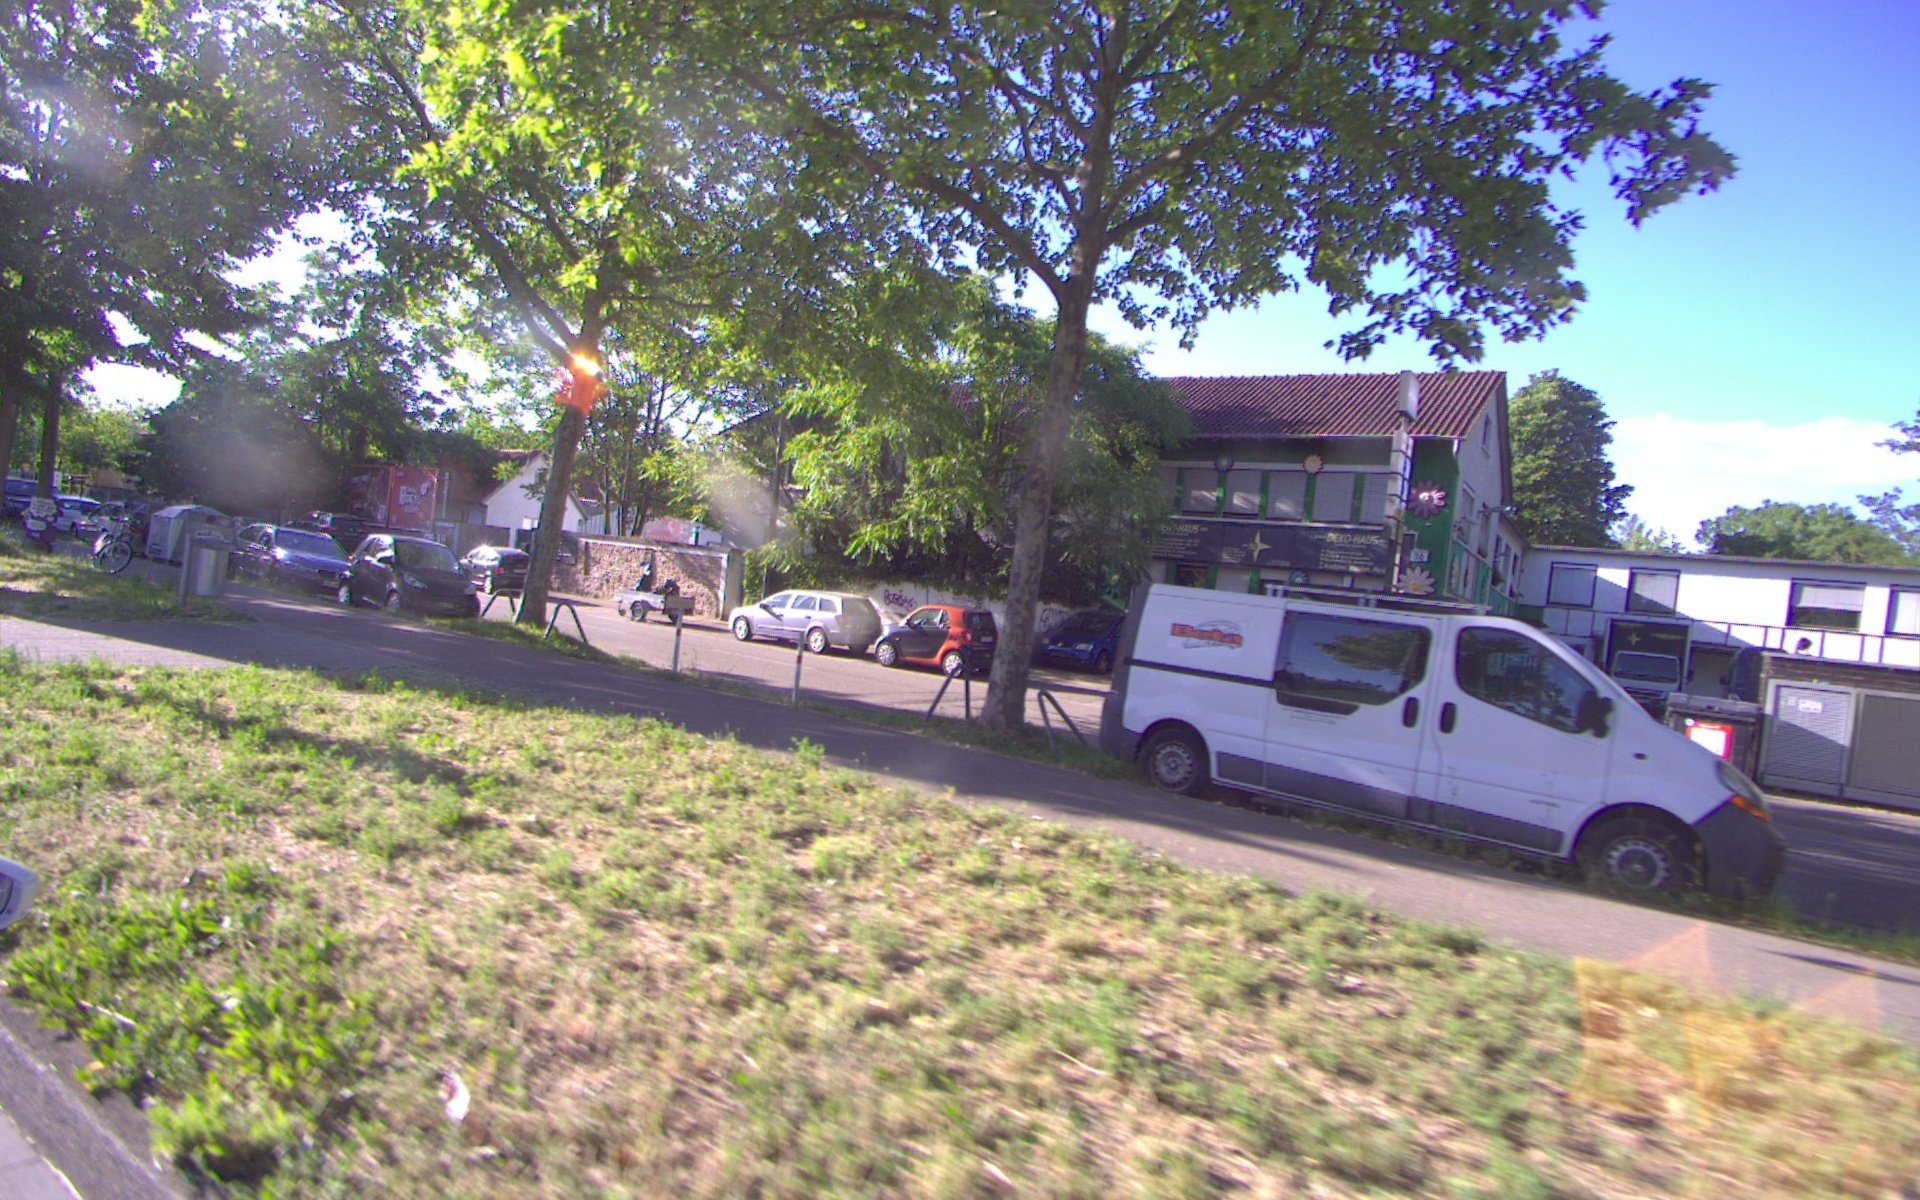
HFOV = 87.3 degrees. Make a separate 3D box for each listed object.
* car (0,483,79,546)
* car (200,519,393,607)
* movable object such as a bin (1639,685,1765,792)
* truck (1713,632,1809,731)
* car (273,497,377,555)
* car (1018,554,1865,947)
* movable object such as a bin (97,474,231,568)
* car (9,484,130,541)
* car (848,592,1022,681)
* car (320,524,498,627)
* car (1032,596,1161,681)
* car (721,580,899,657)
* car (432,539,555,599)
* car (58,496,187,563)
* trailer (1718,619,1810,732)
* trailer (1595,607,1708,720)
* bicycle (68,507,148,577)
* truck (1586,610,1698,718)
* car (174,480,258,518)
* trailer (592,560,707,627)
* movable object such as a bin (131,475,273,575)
[{"bbox_3d":[-34.065,-3.166,36.383,4.812,1.841,1.874,6,-1,32],"label":"car"},{"bbox_3d":[-14.560,-0.839,21.981,4.673,1.400,2.000,6,-2,38],"label":"car"},{"bbox_3d":[12.842,2.350,17.503,1.461,1.489,1.645,6,2,31],"label":"movable object such as a bin"},{"bbox_3d":[27.069,2.780,33.991,2.199,2.949,2.890,6,-1,40],"label":"truck"},{"bbox_3d":[-26.648,-3.108,42.170,4.615,2.028,1.871,6,2,33],"label":"car"},{"bbox_3d":[3.618,0.953,8.646,5.726,2.037,2.193,6,-1,33],"label":"car"},{"bbox_3d":[-20.804,-2.060,26.301,2.103,2.037,2.083,6,-1,36],"label":"movable object such as a bin"},{"bbox_3d":[-29.488,-2.912,33.297,3.934,1.405,1.874,6,-2,32],"label":"car"},{"bbox_3d":[-0.584,0.779,23.294,3.422,1.630,1.993,6,4,32],"label":"car"},{"bbox_3d":[-10.339,-0.468,18.847,2.942,1.518,1.663,6,-2,34],"label":"car"},{"bbox_3d":[3.802,1.109,27.425,1.819,1.872,4.090,6,-2,32],"label":"car"},{"bbox_3d":[-3.875,0.466,25.690,4.257,1.502,1.992,6,1,36],"label":"car"},{"bbox_3d":[-16.083,-1.065,34.622,3.935,1.662,1.993,6,2,33],"label":"car"},{"bbox_3d":[-25.421,-2.168,30.468,4.980,1.542,1.871,6,-2,38],"label":"car"},{"bbox_3d":[30.593,3.028,38.256,2.192,3.605,8.723,6,-2,39],"label":"trailer"},{"bbox_3d":[27.222,2.619,39.380,2.646,3.605,8.783,6,-2,40],"label":"trailer"},{"bbox_3d":[-15.096,-1.038,17.807,1.873,1.059,0.493,6,-1,34],"label":"bicycle"},{"bbox_3d":[23.831,2.242,35.146,2.675,3.308,2.481,8,0,39],"label":"truck"},{"bbox_3d":[-37.526,-5.086,50.691,4.615,1.502,1.871,6,2,33],"label":"car"},{"bbox_3d":[-9.172,-0.205,29.720,2.976,1.662,1.729,6,2,36],"label":"trailer"},{"bbox_3d":[-18.601,-1.831,24.715,2.103,2.037,2.083,6,-1,36],"label":"movable object such as a bin"}]
